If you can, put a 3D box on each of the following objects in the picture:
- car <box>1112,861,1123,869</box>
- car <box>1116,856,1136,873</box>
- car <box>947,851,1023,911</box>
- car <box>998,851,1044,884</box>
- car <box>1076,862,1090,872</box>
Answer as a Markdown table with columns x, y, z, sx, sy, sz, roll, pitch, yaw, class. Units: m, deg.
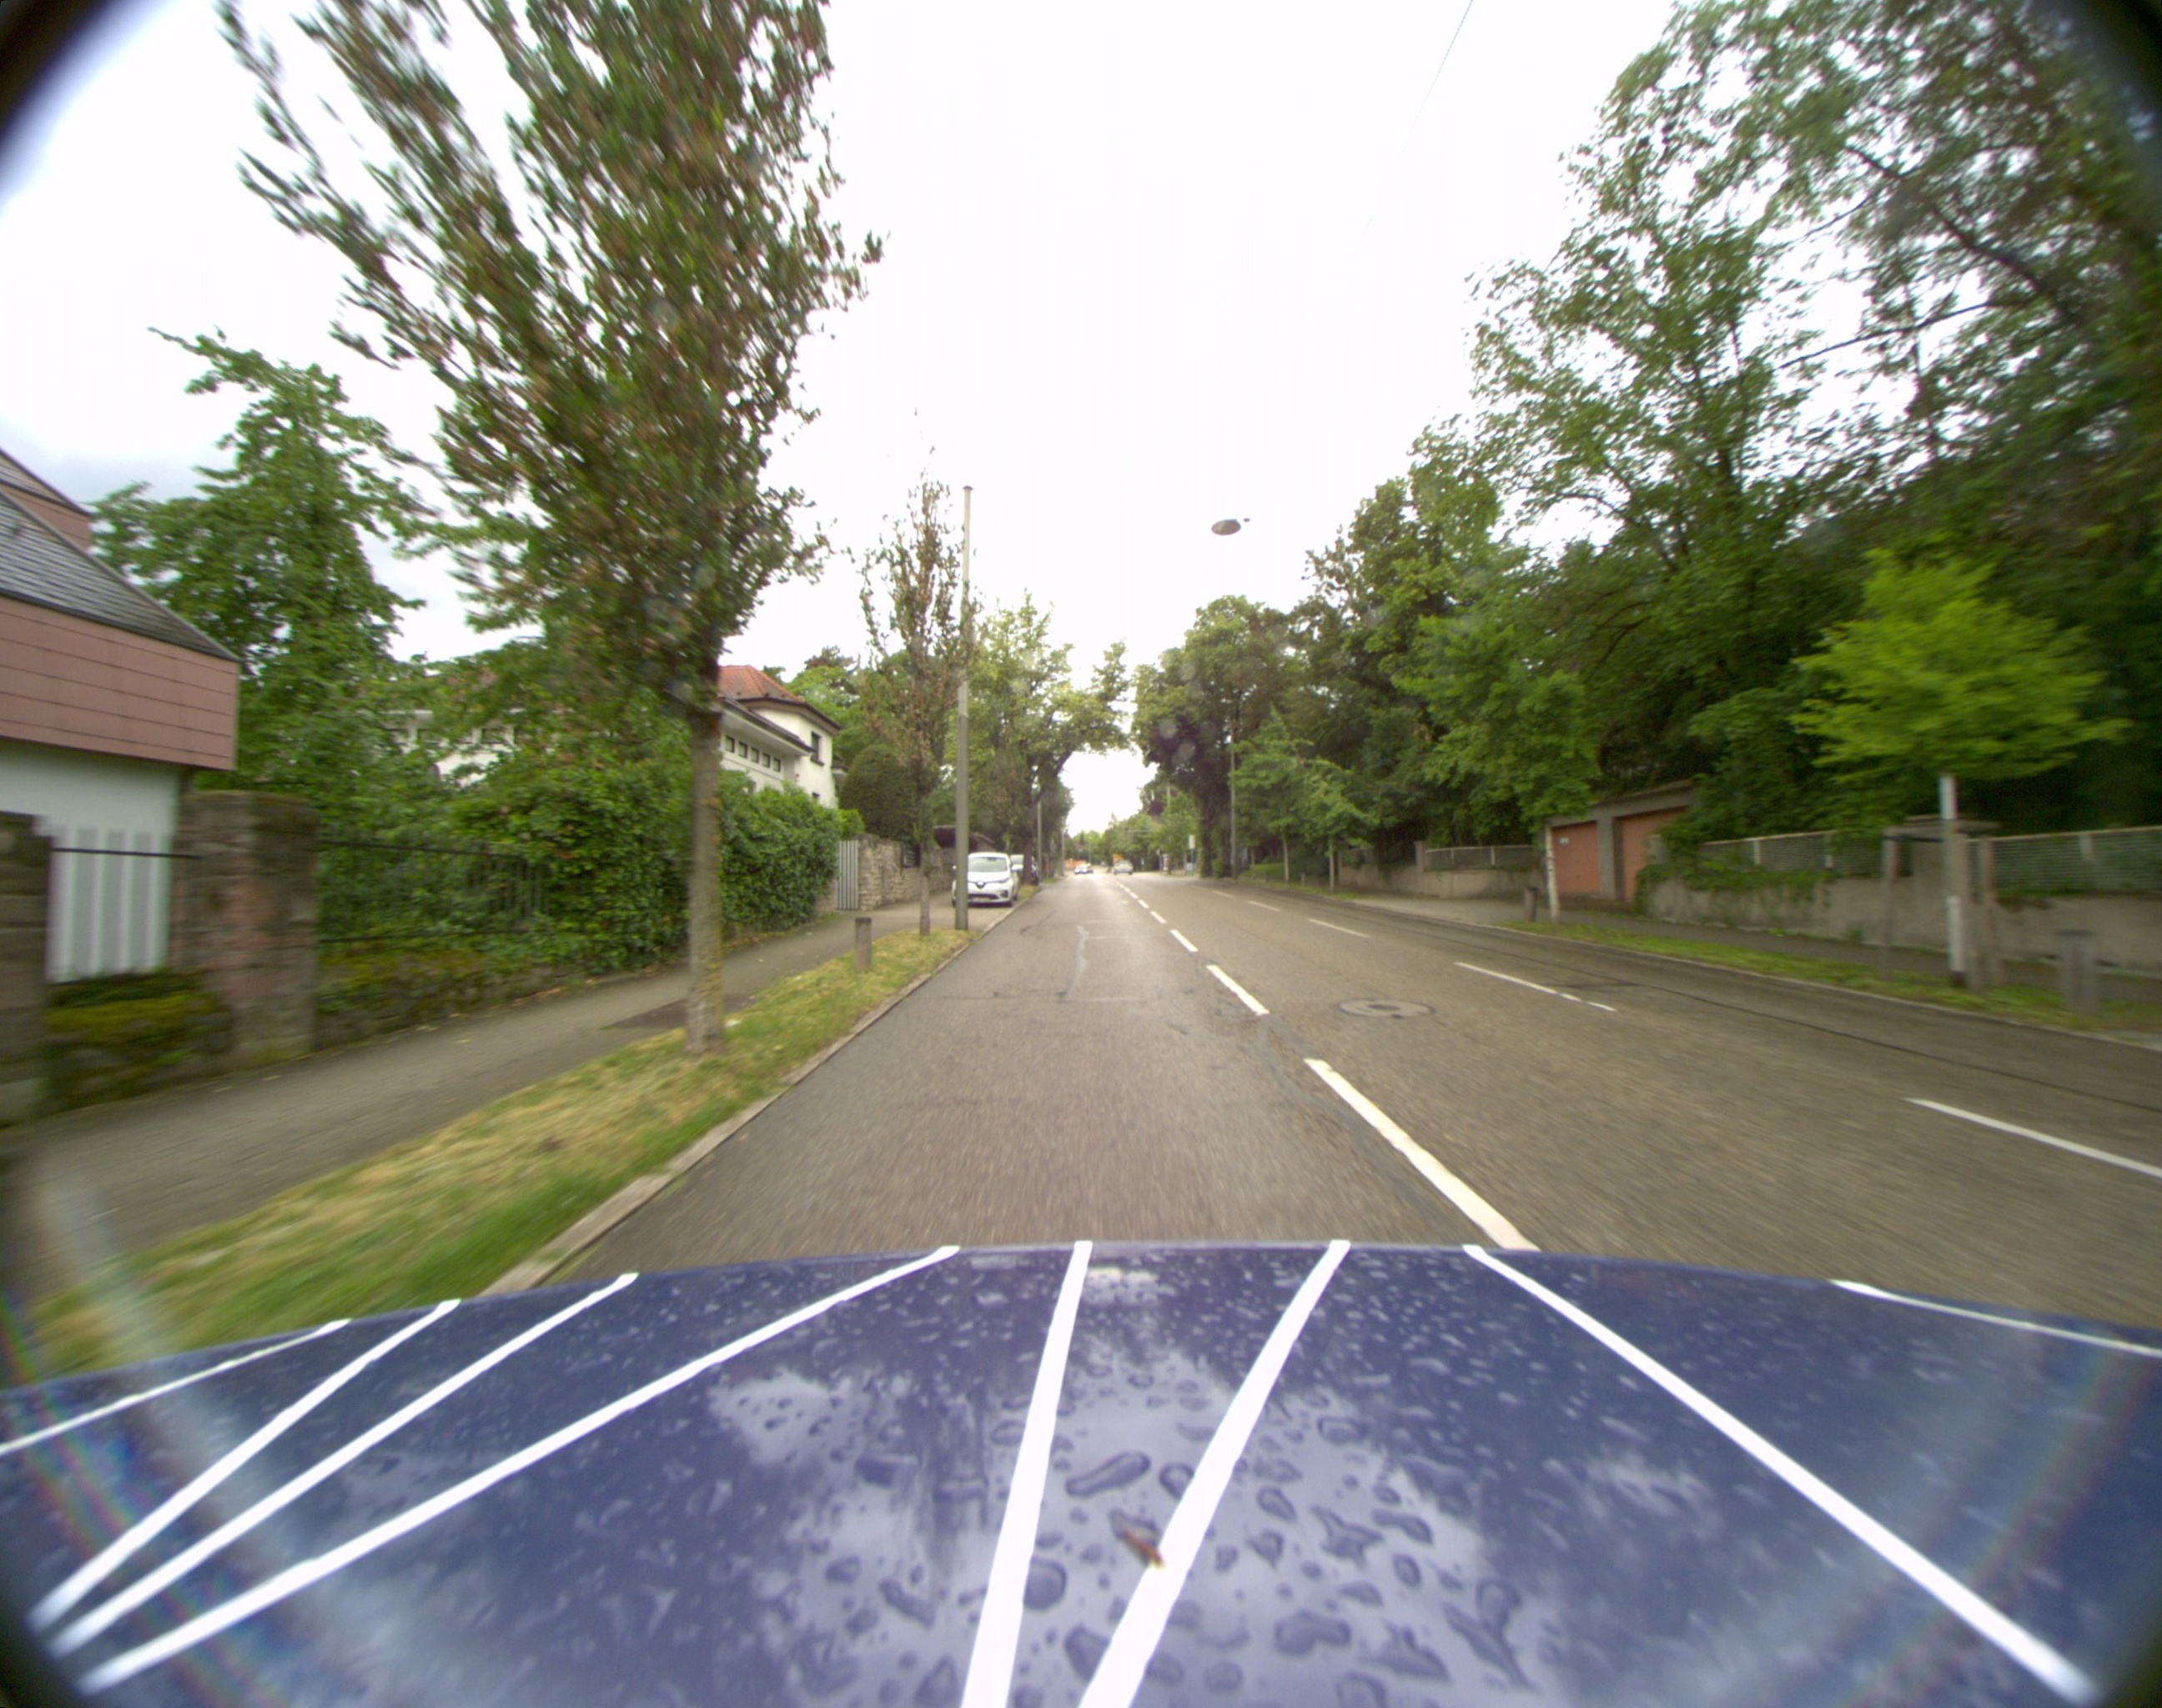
| x | y | z | sx | sy | sz | roll | pitch | yaw | class |
| --- | --- | --- | --- | --- | --- | --- | --- | --- | --- |
| 6.988 | 2.090 | 144.525 | 1.876 | 1.540 | 4.001 | 1 | -1 | 1 | car |
| 4.542 | 1.046 | 77.118 | 1.798 | 1.501 | 4.093 | -2 | 1 | 1 | car |
| -2.796 | 0.727 | 22.920 | 1.829 | 1.620 | 3.999 | 1 | 1 | -1 | car |
| -2.954 | 0.704 | 38.360 | 1.923 | 1.558 | 4.221 | 1 | -1 | 1 | car |
| 0.395 | 2.224 | 131.035 | 1.998 | 1.674 | 4.001 | -4 | -1 | 3 | car |
